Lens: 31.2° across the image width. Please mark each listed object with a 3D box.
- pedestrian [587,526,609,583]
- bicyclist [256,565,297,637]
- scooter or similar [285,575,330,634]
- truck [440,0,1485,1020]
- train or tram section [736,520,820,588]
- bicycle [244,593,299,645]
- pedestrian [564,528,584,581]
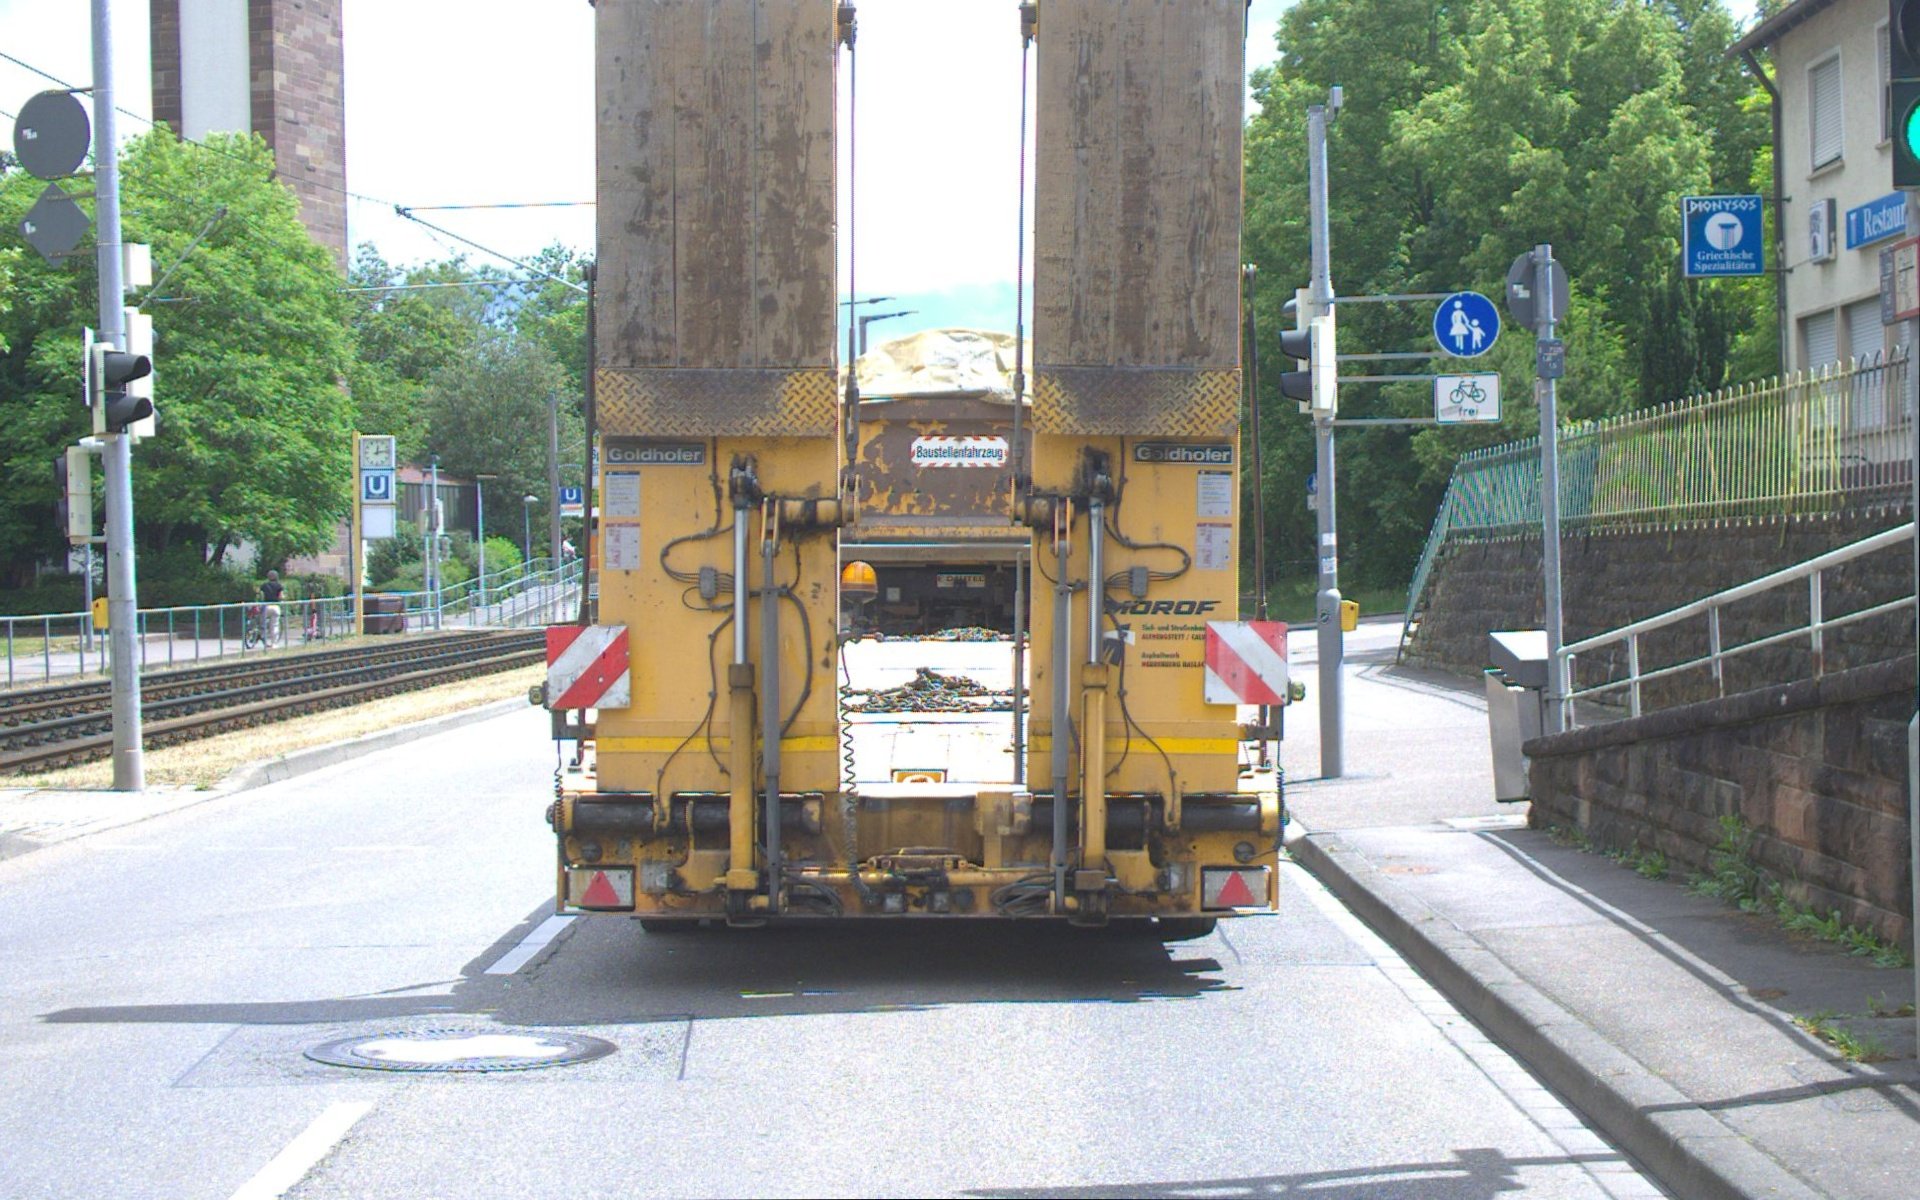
[{"bbox_3d":[-12.806,-1.610,121.602,0.712,2.007,0.732,1,0,0],"label":"pedestrian"},{"bbox_3d":[-13.518,0.017,68.019,0.633,1.424,0.790,1,0,1],"label":"bicyclist"},{"bbox_3d":[-13.997,0.091,73.772,0.649,1.233,1.401,0,1,2],"label":"scooter or similar"},{"bbox_3d":[-0.100,-0.560,18.236,3.402,3.719,13.739,-1,1,-1],"label":"truck"},{"bbox_3d":[-9.835,-2.458,187.552,3.108,3.453,18.825,1,0,1],"label":"train or tram section"},{"bbox_3d":[-13.531,0.366,67.624,0.637,0.990,1.928,1,0,1],"label":"bicycle"},{"bbox_3d":[-13.073,-1.547,116.337,0.584,1.771,0.576,1,0,2],"label":"pedestrian"}]
